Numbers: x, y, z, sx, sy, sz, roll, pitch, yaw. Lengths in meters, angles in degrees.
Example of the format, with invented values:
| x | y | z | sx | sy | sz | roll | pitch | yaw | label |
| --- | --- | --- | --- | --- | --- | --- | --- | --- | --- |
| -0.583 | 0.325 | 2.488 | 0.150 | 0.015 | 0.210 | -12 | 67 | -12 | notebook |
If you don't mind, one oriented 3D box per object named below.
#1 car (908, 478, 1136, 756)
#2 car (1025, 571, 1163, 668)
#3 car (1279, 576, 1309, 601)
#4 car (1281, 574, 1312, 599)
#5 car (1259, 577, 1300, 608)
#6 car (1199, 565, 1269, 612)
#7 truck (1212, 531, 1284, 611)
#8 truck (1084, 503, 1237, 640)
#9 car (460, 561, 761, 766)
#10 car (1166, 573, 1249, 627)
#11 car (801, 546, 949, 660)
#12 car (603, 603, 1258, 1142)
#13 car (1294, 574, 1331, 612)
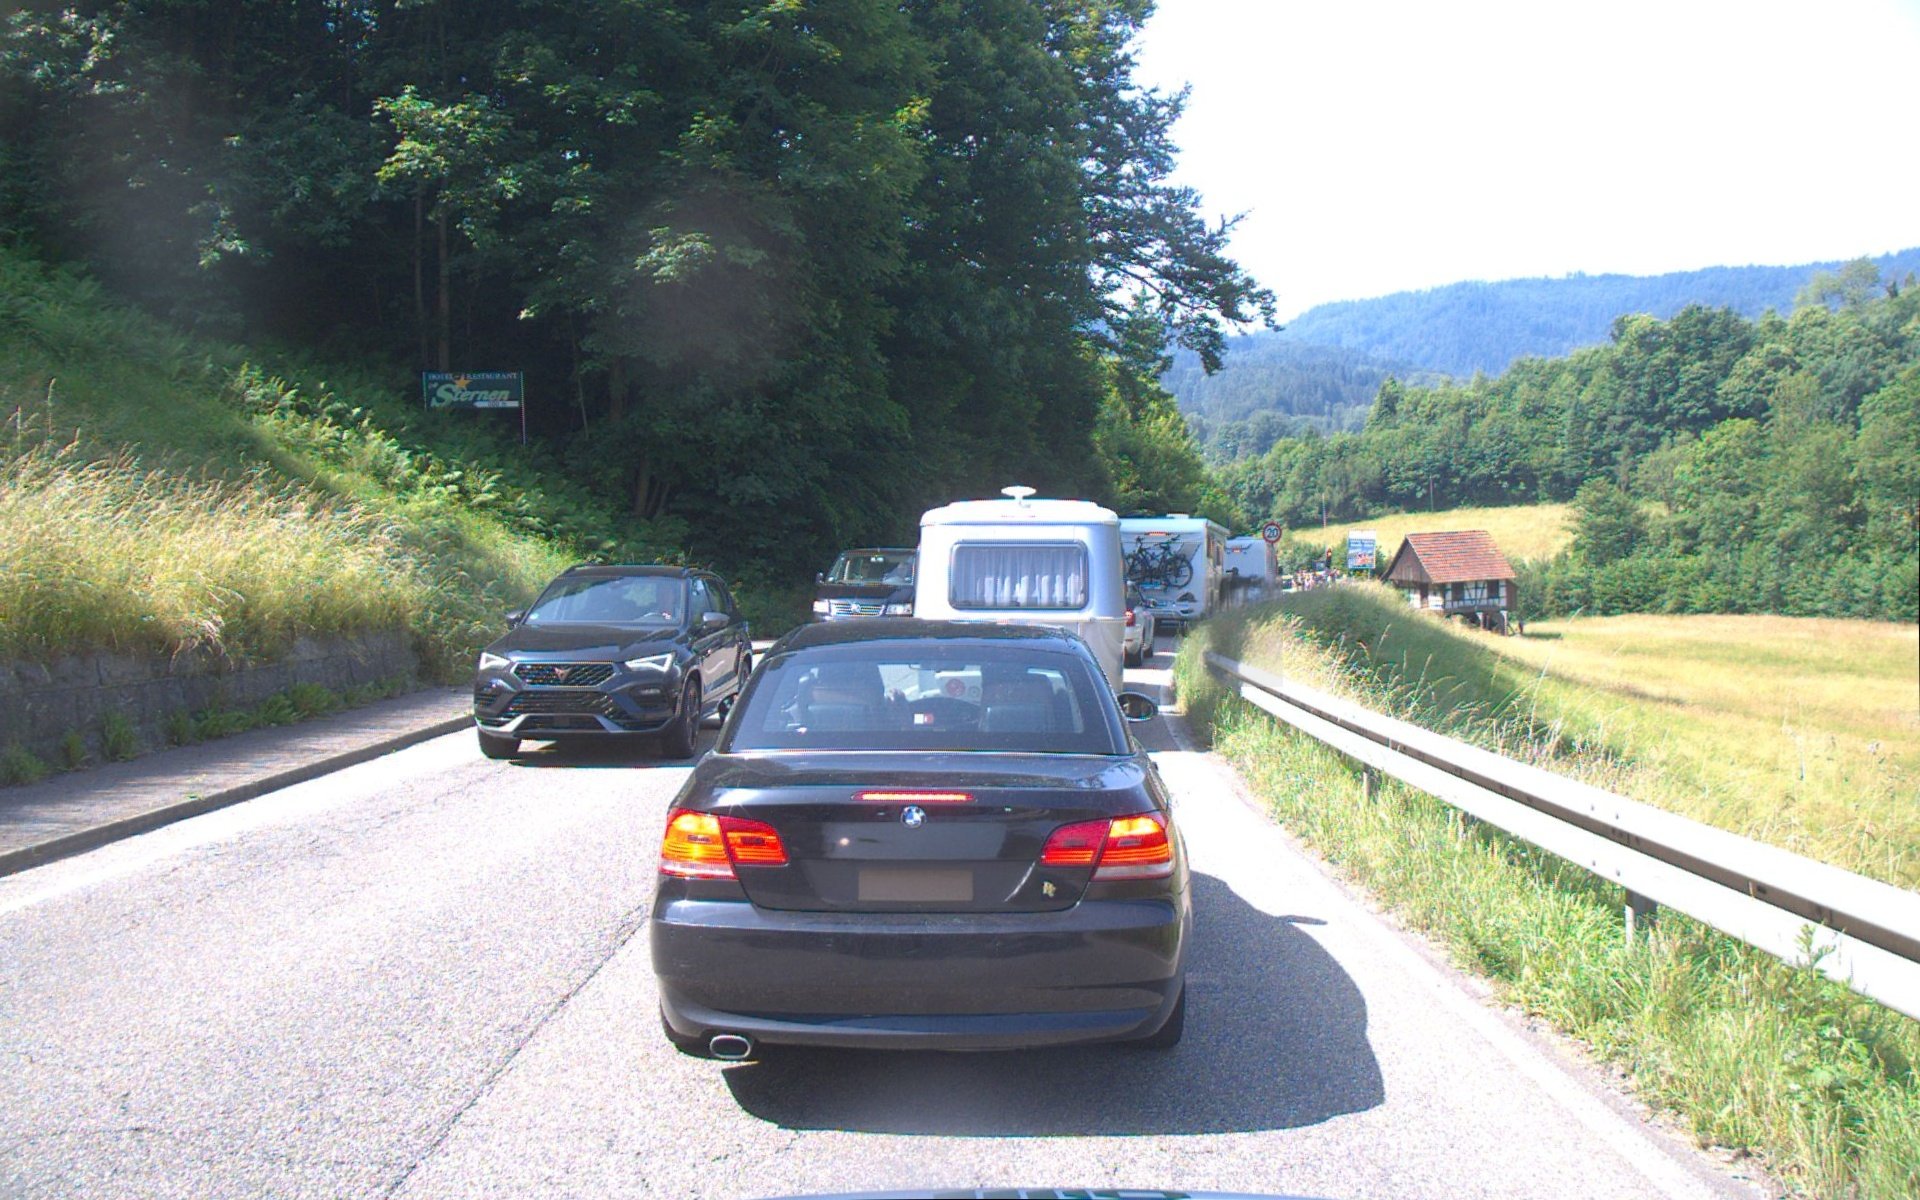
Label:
| x | y | z | sx | sy | sz | roll | pitch | yaw | label |
| --- | --- | --- | --- | --- | --- | --- | --- | --- | --- |
| 0.712 | 0.098 | 16.780 | 1.951 | 2.394 | 4.917 | 1 | 1 | 4 | car |
| 2.436 | 0.297 | 29.131 | 1.951 | 1.510 | 4.004 | 2 | 1 | 11 | car |
| 24.651 | -0.838 | 121.924 | 1.951 | 1.713 | 4.003 | 1 | -1 | 14 | car |
| 22.868 | -0.894 | 112.224 | 1.951 | 1.603 | 4.003 | 1 | 0 | 12 | car |
| 16.506 | -0.371 | 85.357 | 1.866 | 1.512 | 4.003 | 1 | 0 | 14 | car |
| 9.423 | -0.413 | 56.606 | 1.750 | 1.489 | 4.002 | 3 | 2 | 18 | car |
| 11.025 | -1.033 | 62.957 | 2.190 | 2.853 | 6.237 | 1 | 0 | 14 | truck |
| 5.154 | -0.737 | 41.367 | 2.732 | 3.049 | 6.873 | 3 | 2 | 15 | truck |
| -3.023 | 0.465 | 15.170 | 1.784 | 1.612 | 4.084 | 0 | 1 | 2 | car |
| 7.654 | -0.034 | 50.905 | 1.952 | 1.489 | 4.003 | 3 | 2 | 16 | car |
| -1.455 | 0.021 | 30.051 | 1.878 | 1.858 | 4.494 | 2 | 1 | 7 | car |
| -0.015 | 0.727 | 6.288 | 1.734 | 1.359 | 3.768 | 1 | 1 | 2 | car |
| 20.172 | -0.388 | 94.653 | 1.951 | 1.959 | 4.003 | 4 | 0 | 12 | car |
